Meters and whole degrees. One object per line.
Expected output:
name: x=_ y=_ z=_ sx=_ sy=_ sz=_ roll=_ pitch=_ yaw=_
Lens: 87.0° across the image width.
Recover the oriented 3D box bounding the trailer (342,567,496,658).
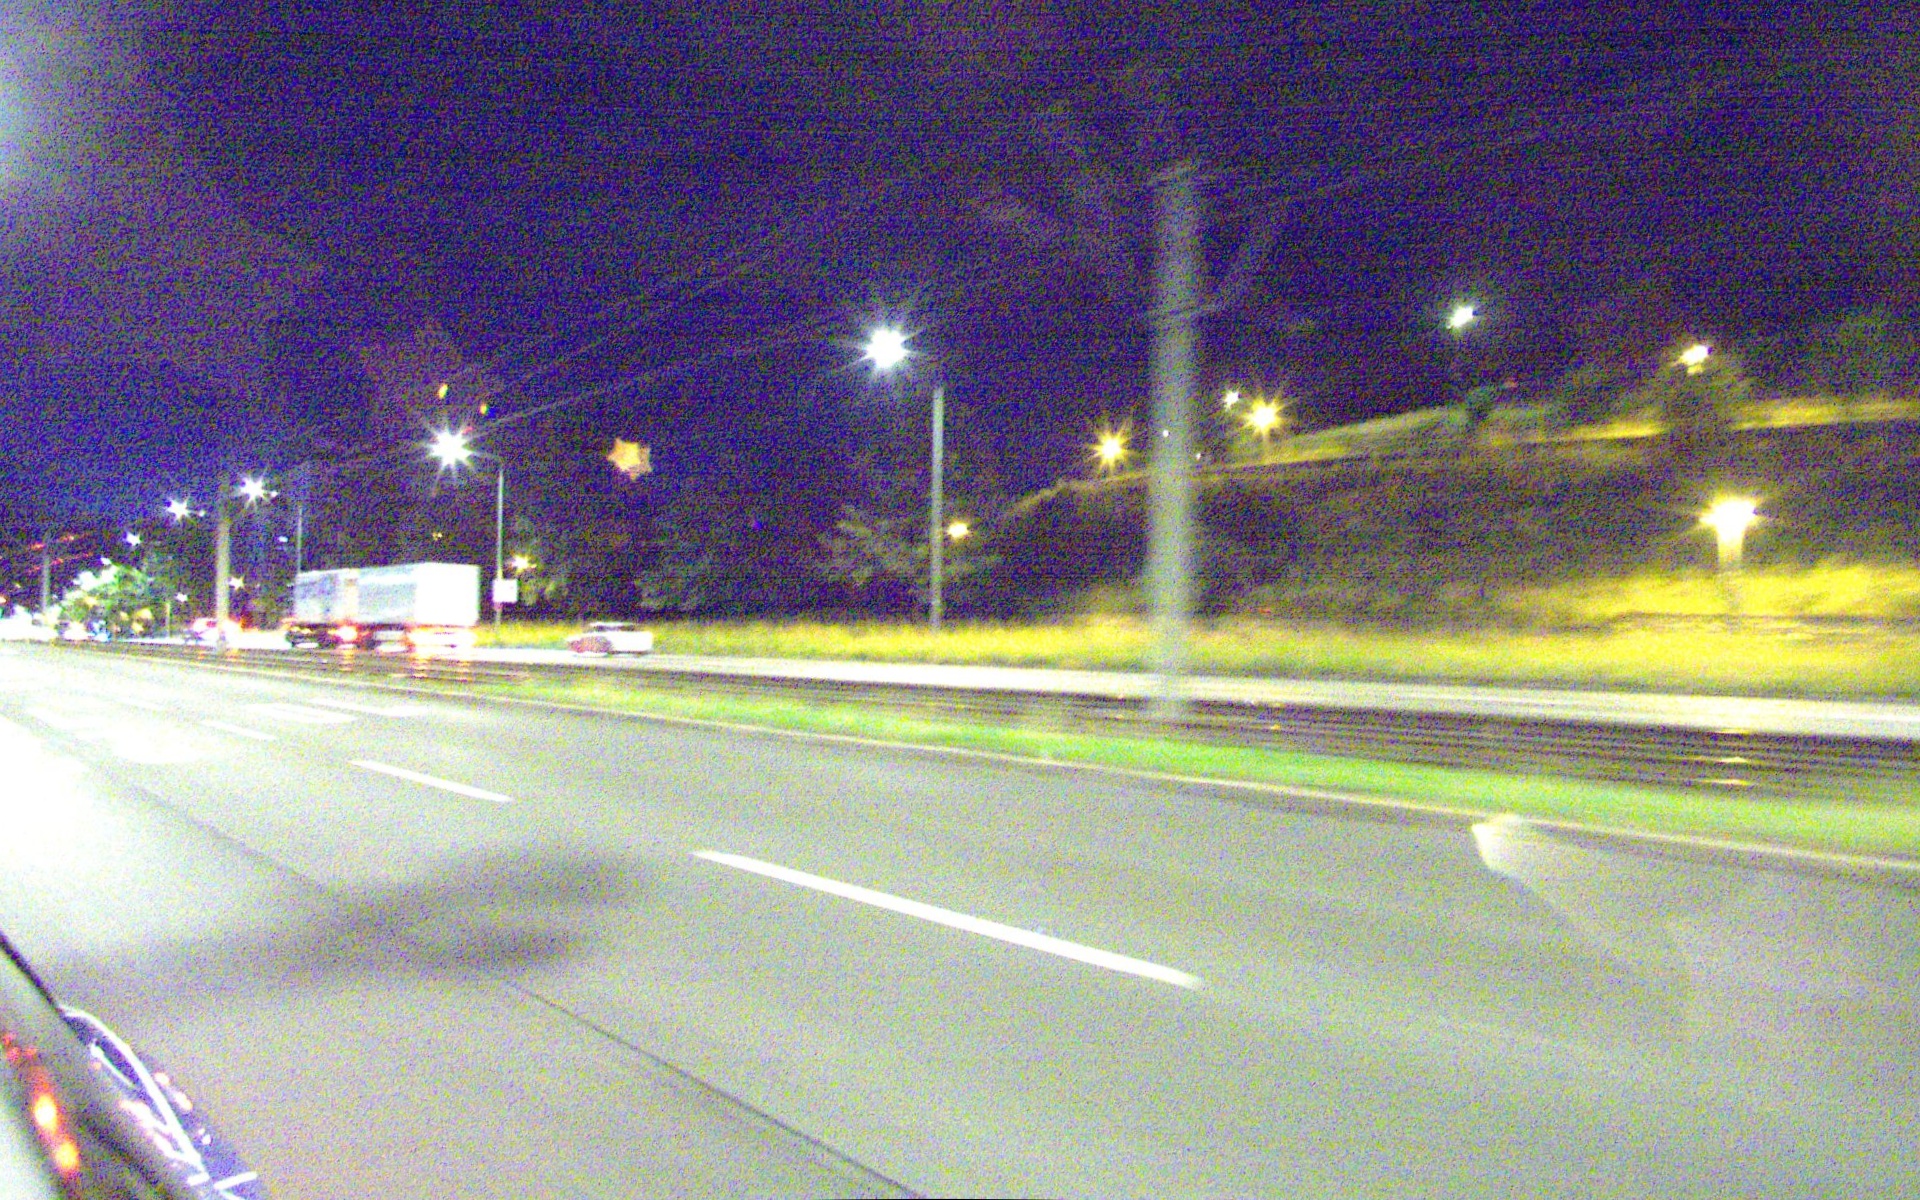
trailer: x=-26.189 y=0.560 z=48.842 sx=8.387 sy=4.019 sz=3.659 roll=-1 pitch=0 yaw=40

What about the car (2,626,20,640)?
car: x=-139.604 y=4.820 z=148.888 sx=1.769 sy=1.921 sz=4.003 roll=-1 pitch=0 yaw=-44

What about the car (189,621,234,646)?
car: x=-51.879 y=2.306 z=70.146 sx=3.960 sy=1.637 sz=1.707 roll=-1 pitch=0 yaw=42

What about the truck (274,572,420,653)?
truck: x=-33.431 y=0.646 z=54.996 sx=10.413 sy=3.984 sz=3.644 roll=-1 pitch=0 yaw=40

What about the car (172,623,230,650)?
car: x=-45.431 y=2.139 z=60.570 sx=4.080 sy=1.510 sz=1.787 roll=-1 pitch=-1 yaw=38

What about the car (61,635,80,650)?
car: x=-130.698 y=6.237 z=148.752 sx=2.030 sy=2.029 sz=4.006 roll=-1 pitch=0 yaw=-40

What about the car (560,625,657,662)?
car: x=-14.951 y=1.836 z=42.965 sx=4.200 sy=1.492 sz=1.966 roll=-1 pitch=-3 yaw=40
